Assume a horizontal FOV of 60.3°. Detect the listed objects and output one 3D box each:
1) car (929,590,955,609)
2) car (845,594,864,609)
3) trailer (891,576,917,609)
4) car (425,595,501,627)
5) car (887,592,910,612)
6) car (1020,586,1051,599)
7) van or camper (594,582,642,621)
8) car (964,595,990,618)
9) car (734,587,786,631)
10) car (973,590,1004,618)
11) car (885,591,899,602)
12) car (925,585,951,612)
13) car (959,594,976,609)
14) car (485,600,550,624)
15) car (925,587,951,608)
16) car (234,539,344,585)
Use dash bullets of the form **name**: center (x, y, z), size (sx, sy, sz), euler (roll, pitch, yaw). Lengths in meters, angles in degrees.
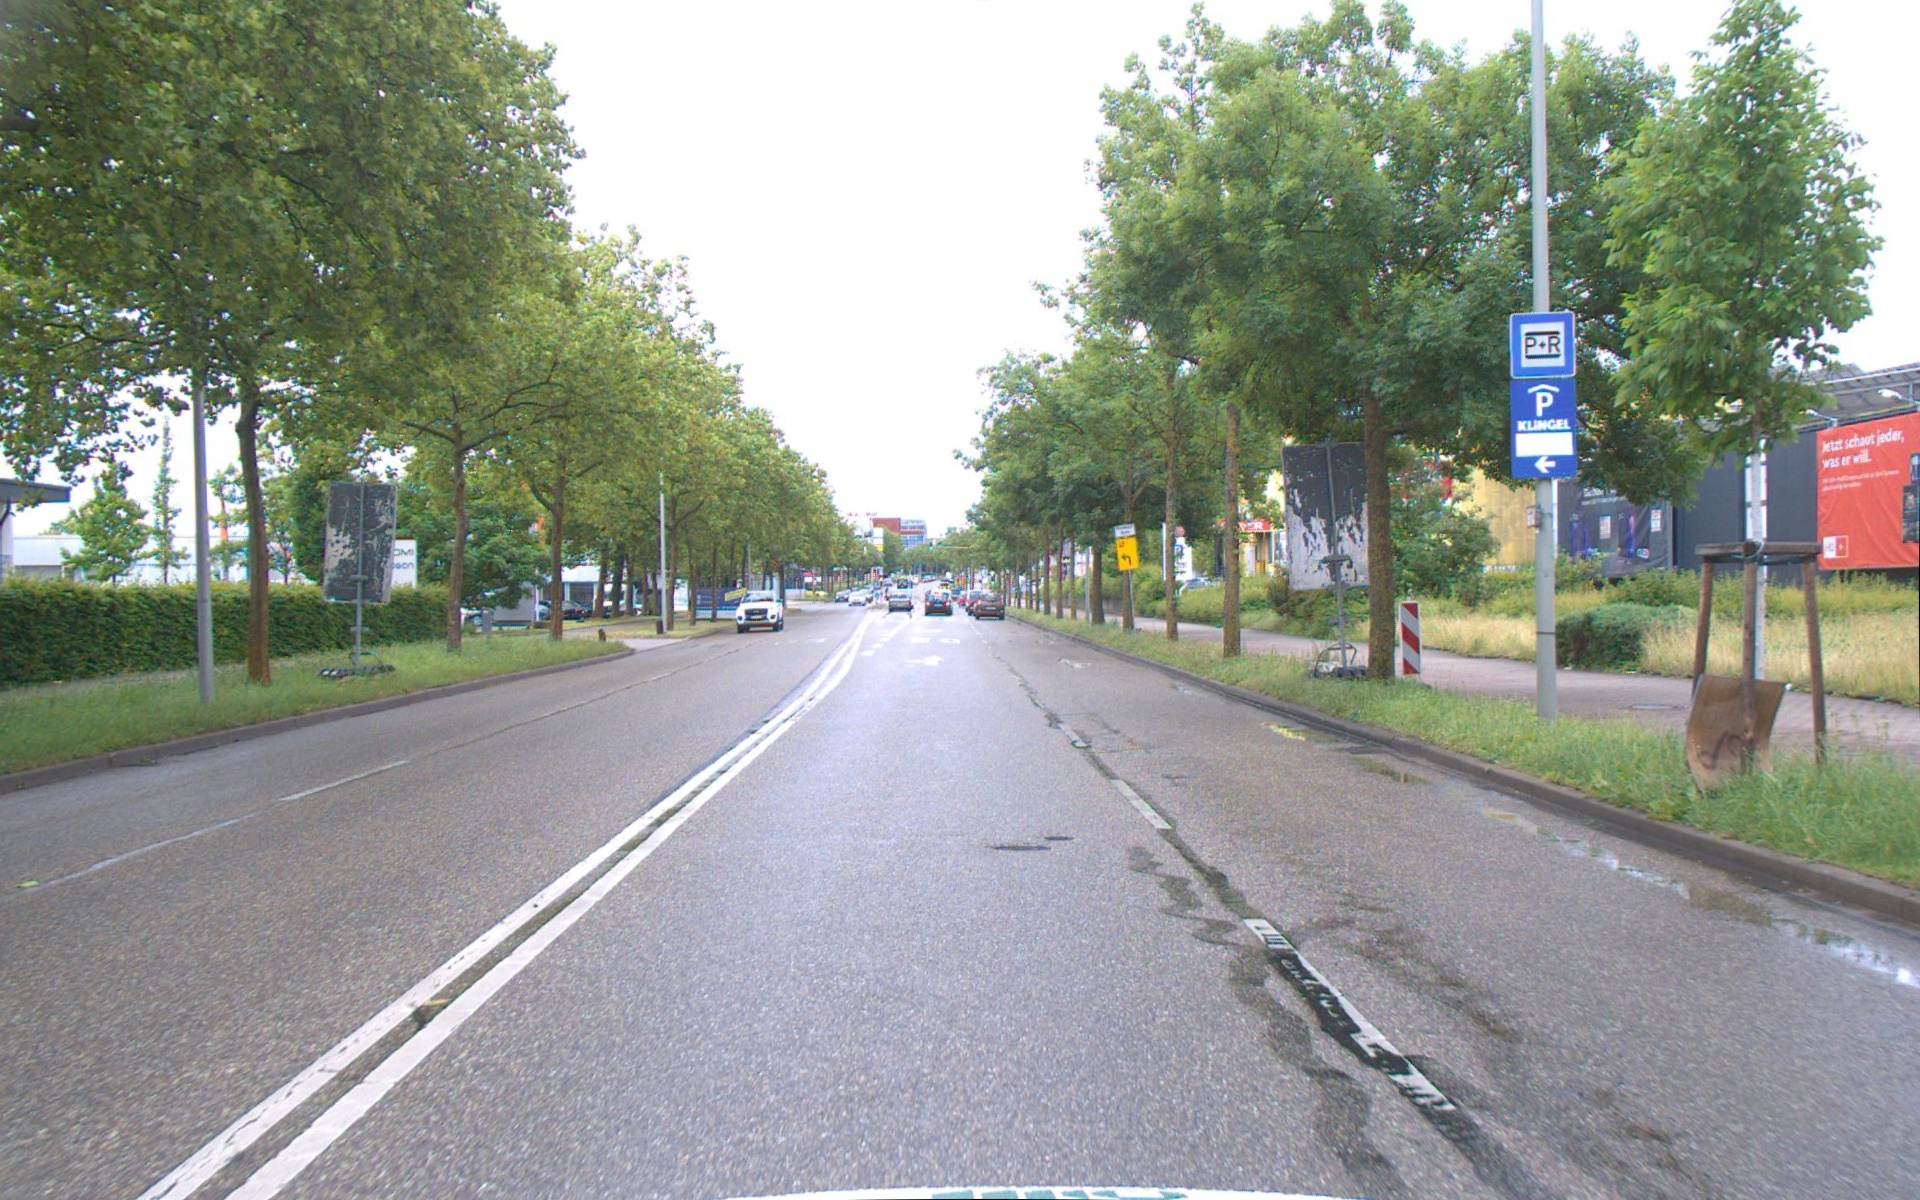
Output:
- **car**: center (-1.323, -0.056, 122.776), size (1.649, 1.401, 3.996), euler (-1, 1, -5)
- **car**: center (-11.432, 0.151, 179.095), size (1.955, 1.454, 4.680), euler (-2, 0, -5)
- **trailer**: center (-5.243, -0.668, 154.061), size (2.325, 2.947, 5.543), euler (-1, 0, -3)
- **car**: center (-29.346, 0.651, 97.699), size (3.908, 1.797, 1.881), euler (-1, 0, -4)
- **car**: center (-5.156, 0.169, 139.147), size (1.868, 1.606, 4.879), euler (-1, 0, -1)
- **car**: center (9.808, -1.011, 214.485), size (1.896, 1.604, 4.266), euler (-1, 1, 40)
- **van or camper**: center (-22.839, 0.111, 110.765), size (1.953, 2.513, 6.400), euler (1, 0, -1)
- **car**: center (1.211, 0.448, 121.459), size (1.764, 1.614, 4.450), euler (1, 1, -1)
- **car**: center (-8.955, 0.362, 74.477), size (1.873, 1.837, 5.339), euler (-2, 0, -2)
- **car**: center (1.746, 0.248, 102.493), size (1.691, 1.652, 4.470), euler (-1, 0, -1)
- **car**: center (-8.702, -0.420, 211.978), size (1.649, 1.401, 3.996), euler (-1, 1, -5)
- **car**: center (-1.740, -0.114, 129.784), size (1.953, 2.049, 3.999), euler (1, 0, -1)
- **car**: center (0.746, 0.133, 163.164), size (1.661, 1.468, 3.988), euler (-1, 0, -1)
- **car**: center (-30.120, 0.799, 112.616), size (3.902, 1.547, 1.867), euler (-1, 0, 13)
- **car**: center (-1.564, -0.181, 116.054), size (1.745, 1.422, 3.999), euler (0, 0, -2)
- **car**: center (-29.002, -1.626, 71.556), size (3.905, 1.922, 1.963), euler (-1, 0, 0)
